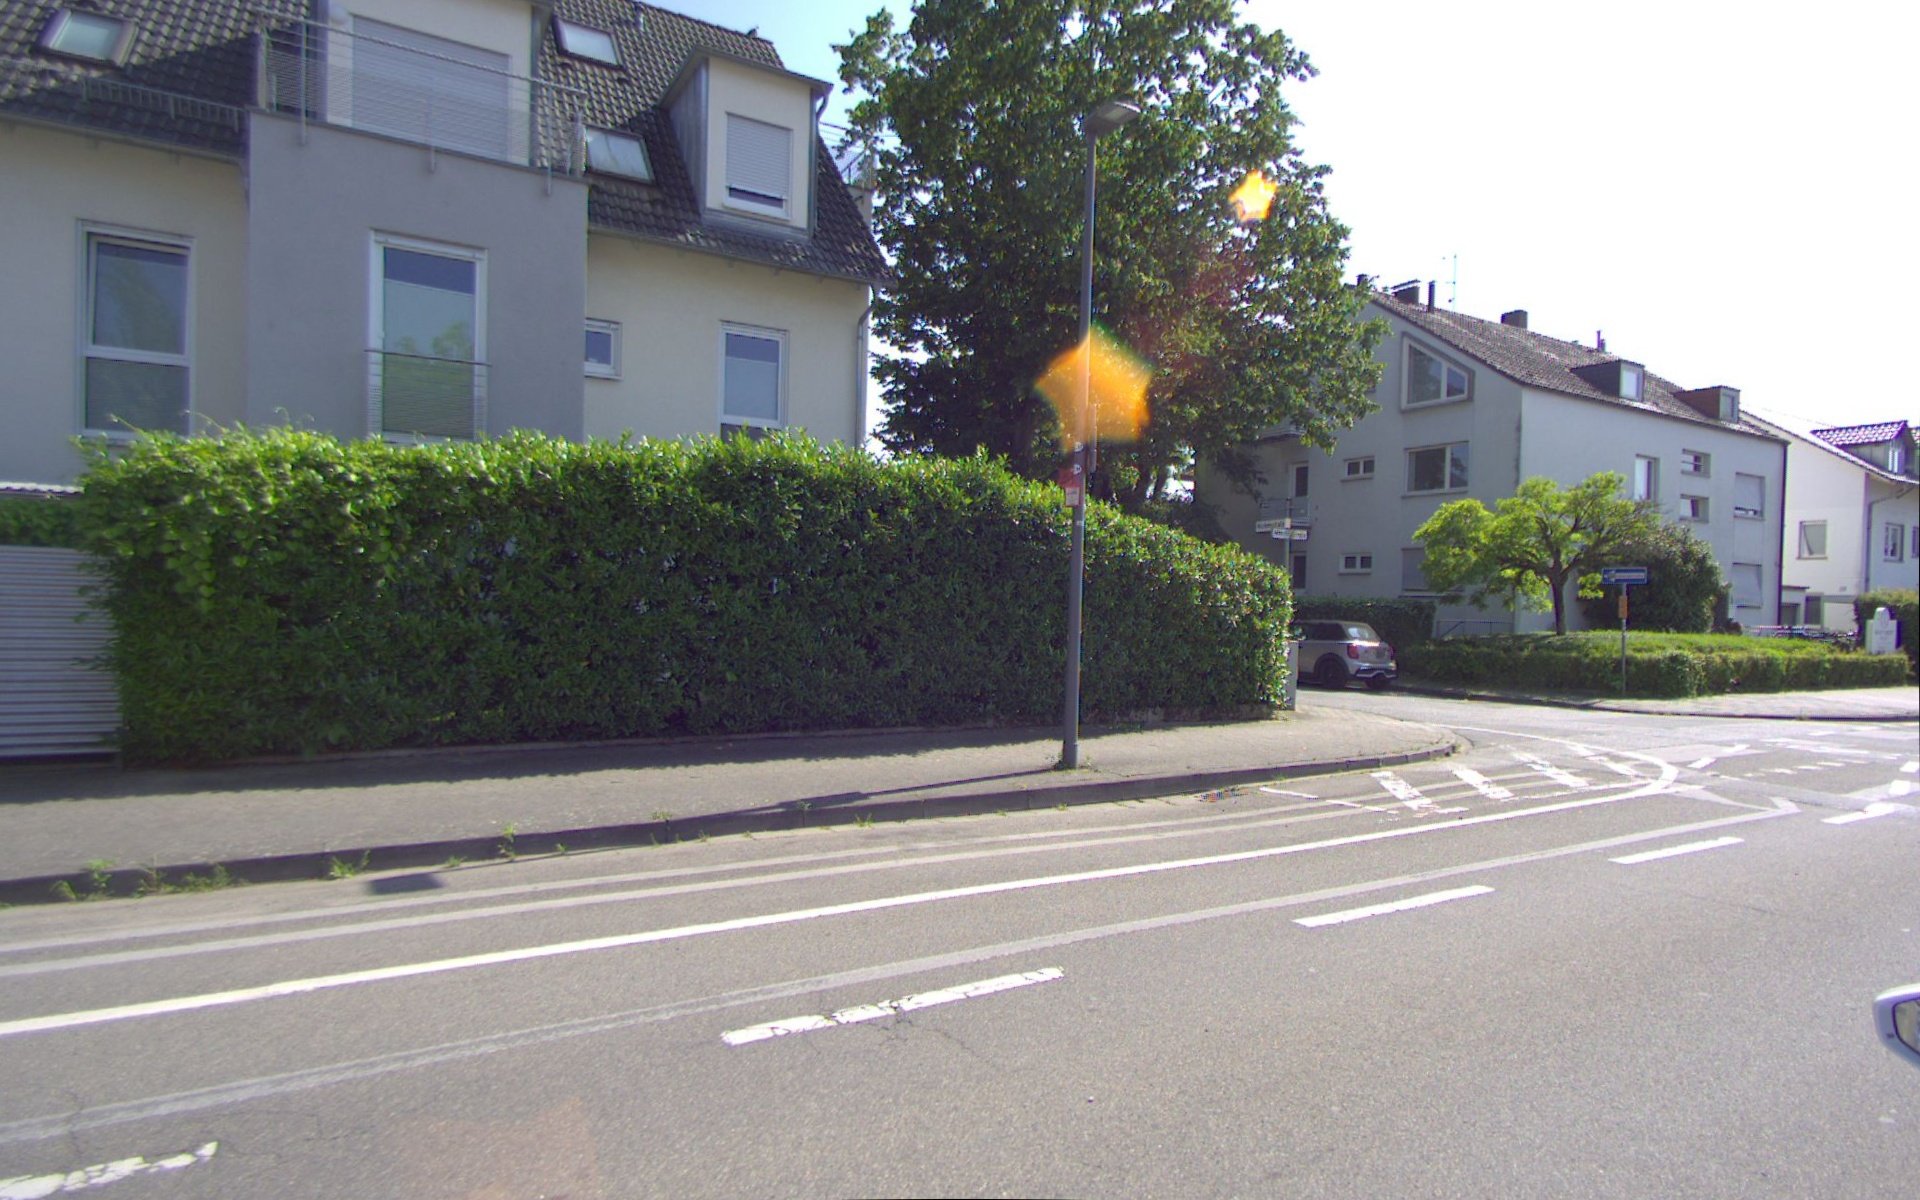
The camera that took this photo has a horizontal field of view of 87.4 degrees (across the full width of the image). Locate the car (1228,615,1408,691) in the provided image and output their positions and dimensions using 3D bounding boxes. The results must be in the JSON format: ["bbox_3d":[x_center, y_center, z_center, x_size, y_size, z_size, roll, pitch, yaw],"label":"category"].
[{"bbox_3d":[7.825,1.112,22.252,1.706,1.431,3.476,2,0,-30],"label":"car"}]
